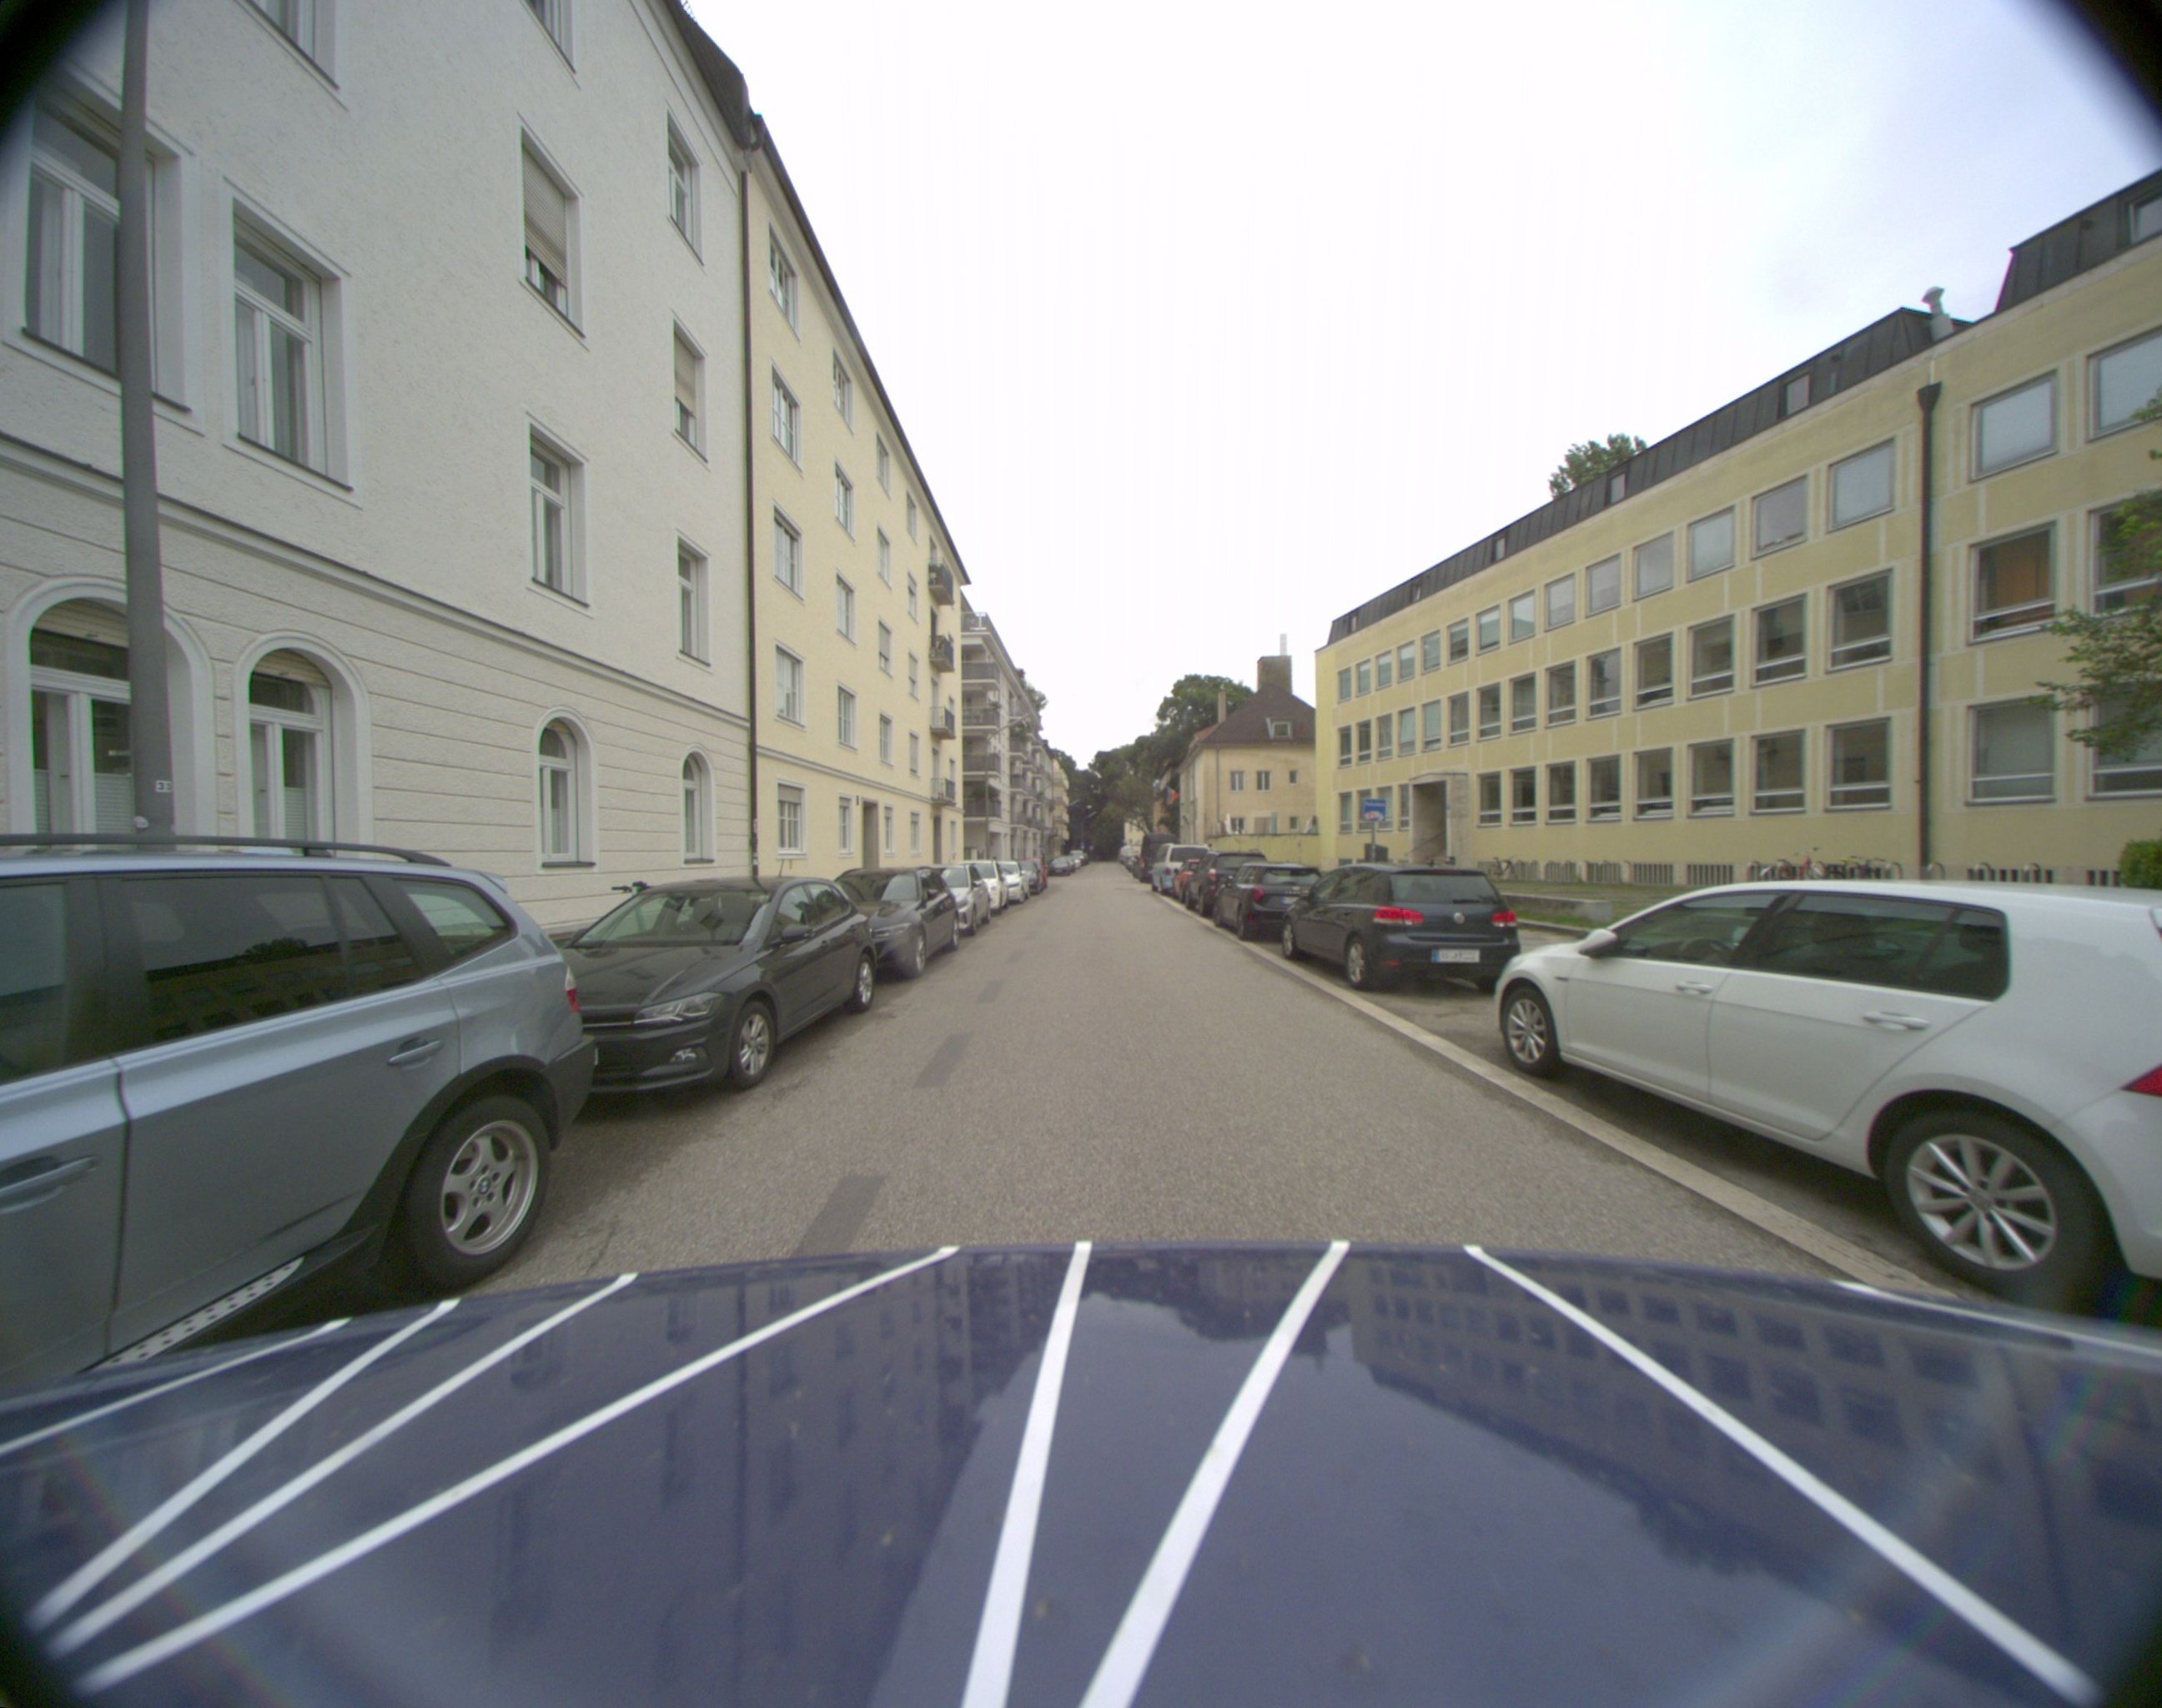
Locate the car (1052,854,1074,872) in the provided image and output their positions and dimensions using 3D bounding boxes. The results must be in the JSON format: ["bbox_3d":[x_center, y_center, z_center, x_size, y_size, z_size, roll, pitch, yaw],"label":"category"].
[{"bbox_3d":[-1.564,0.727,65.765,1.766,1.449,3.418,-1,1,1],"label":"car"}]

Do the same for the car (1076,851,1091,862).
[{"bbox_3d":[0.342,0.342,102.960,1.871,1.455,4.268,-1,1,3],"label":"car"}]

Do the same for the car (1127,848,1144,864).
[{"bbox_3d":[6.226,0.206,87.583,1.817,1.723,3.650,-1,1,2],"label":"car"}]

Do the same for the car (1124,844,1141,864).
[{"bbox_3d":[6.678,-0.020,97.836,2.104,2.418,4.550,-1,1,4],"label":"car"}]

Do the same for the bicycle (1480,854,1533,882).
[{"bbox_3d":[16.782,0.556,29.970,1.954,1.008,0.580,-2,1,-16],"label":"bicycle"}]

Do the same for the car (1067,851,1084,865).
[{"bbox_3d":[-0.545,0.396,82.187,1.766,1.449,3.747,-1,1,1],"label":"car"}]

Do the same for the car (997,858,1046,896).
[{"bbox_3d":[-2.429,0.913,31.971,1.683,1.402,4.421,-1,1,0],"label":"car"}]

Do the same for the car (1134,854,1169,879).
[{"bbox_3d":[4.470,0.752,48.573,1.706,1.485,3.488,-1,1,-3],"label":"car"}]

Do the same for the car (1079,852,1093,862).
[{"bbox_3d":[0.740,0.426,113.103,1.871,1.455,4.268,-1,1,3],"label":"car"}]

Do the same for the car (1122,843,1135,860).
[{"bbox_3d":[7.153,-0.401,114.295,1.880,2.539,4.370,-1,1,3],"label":"car"}]

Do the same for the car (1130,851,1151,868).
[{"bbox_3d":[5.467,0.529,70.549,1.767,1.505,3.842,0,1,2],"label":"car"}]

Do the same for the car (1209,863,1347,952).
[{"bbox_3d":[3.692,0.934,14.907,1.684,1.445,3.869,1,0,0],"label":"car"}]

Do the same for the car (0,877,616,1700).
[{"bbox_3d":[-3.113,0.951,1.379,1.726,1.625,4.457,-1,1,1],"label":"car"}]

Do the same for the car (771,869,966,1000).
[{"bbox_3d":[-2.883,1.017,11.328,1.683,1.419,4.390,-1,1,0],"label":"car"}]

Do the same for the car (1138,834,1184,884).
[{"bbox_3d":[4.468,0.238,43.379,2.302,2.630,5.654,1,0,3],"label":"car"}]

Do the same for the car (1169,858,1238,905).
[{"bbox_3d":[4.052,0.858,25.642,1.748,1.379,3.918,-2,0,1],"label":"car"}]

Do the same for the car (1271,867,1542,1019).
[{"bbox_3d":[3.841,0.953,9.783,1.661,1.445,3.973,1,0,-2],"label":"car"}]

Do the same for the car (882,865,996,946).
[{"bbox_3d":[-2.919,1.005,16.478,1.683,1.419,4.166,-1,1,0],"label":"car"}]

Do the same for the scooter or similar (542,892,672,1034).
[{"bbox_3d":[-4.487,0.991,7.272,0.486,1.157,1.172,-1,1,-1],"label":"scooter or similar"}]

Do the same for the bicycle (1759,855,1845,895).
[{"bbox_3d":[19.367,0.550,20.420,1.953,1.008,0.625,-1,1,-9],"label":"bicycle"}]

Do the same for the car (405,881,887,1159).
[{"bbox_3d":[-3.040,1.037,6.454,1.683,1.419,4.086,-1,1,1],"label":"car"}]

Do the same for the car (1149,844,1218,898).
[{"bbox_3d":[3.965,0.595,30.292,1.933,1.967,5.021,0,1,-1],"label":"car"}]

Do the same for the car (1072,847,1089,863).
[{"bbox_3d":[-0.040,0.076,97.331,1.871,2.002,4.268,-1,1,3],"label":"car"}]

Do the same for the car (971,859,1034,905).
[{"bbox_3d":[-2.661,0.925,26.668,1.683,1.402,4.442,-1,1,0],"label":"car"}]

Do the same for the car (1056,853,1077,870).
[{"bbox_3d":[-1.325,0.660,70.229,1.766,1.449,3.747,-1,1,1],"label":"car"}]

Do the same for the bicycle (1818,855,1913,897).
[{"bbox_3d":[19.613,0.537,19.005,1.953,1.008,0.625,-1,1,-9],"label":"bicycle"}]

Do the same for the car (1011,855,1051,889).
[{"bbox_3d":[-2.396,0.846,37.375,1.683,1.489,3.823,-1,1,0],"label":"car"}]

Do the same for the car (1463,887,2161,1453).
[{"bbox_3d":[3.881,0.999,3.890,1.661,1.445,4.072,1,0,-2],"label":"car"}]

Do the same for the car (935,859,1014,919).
[{"bbox_3d":[-2.970,0.937,21.923,1.683,1.473,4.166,-1,1,0],"label":"car"}]

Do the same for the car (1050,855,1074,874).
[{"bbox_3d":[-1.535,0.808,60.740,1.784,1.385,4.245,-1,1,-2],"label":"car"}]

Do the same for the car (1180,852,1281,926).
[{"bbox_3d":[3.829,0.834,20.176,1.748,1.656,4.448,3,0,0],"label":"car"}]

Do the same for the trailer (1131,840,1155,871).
[{"bbox_3d":[5.359,0.106,65.087,1.817,2.521,3.390,3,1,6],"label":"trailer"}]
